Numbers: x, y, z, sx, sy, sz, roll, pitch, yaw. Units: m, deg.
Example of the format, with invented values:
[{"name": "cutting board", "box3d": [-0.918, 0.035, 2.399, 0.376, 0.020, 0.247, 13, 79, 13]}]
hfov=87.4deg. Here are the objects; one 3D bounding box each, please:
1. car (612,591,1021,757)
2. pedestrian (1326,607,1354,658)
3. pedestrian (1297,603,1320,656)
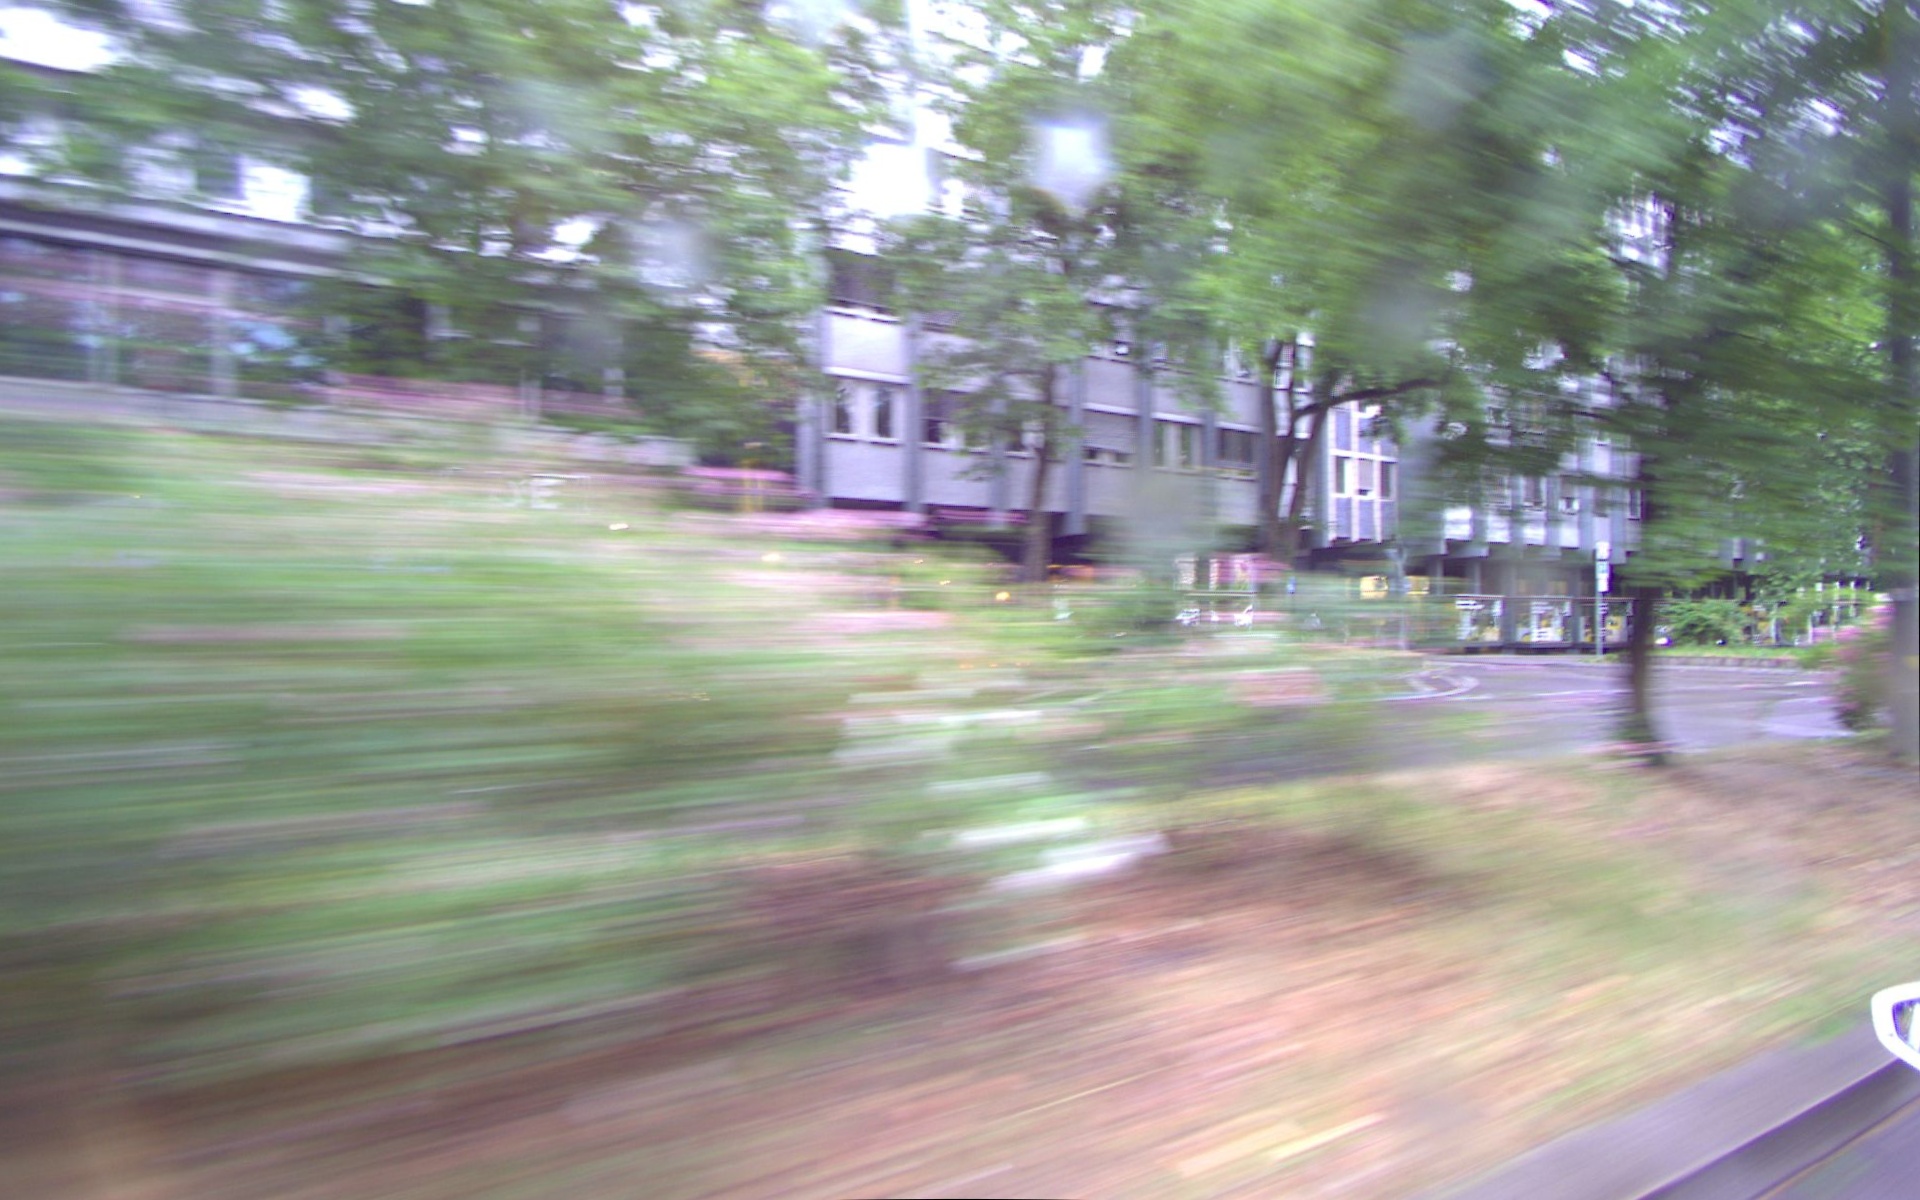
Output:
[{"name": "car", "box3d": [-1.464, 0.701, 10.678, 3.987, 1.484, 1.630, 1, 0, -30]}, {"name": "pedestrian", "box3d": [13.005, 1.121, 34.392, 0.678, 1.731, 0.561, 2, 0, -30]}, {"name": "pedestrian", "box3d": [12.199, 1.038, 35.176, 0.516, 1.831, 0.545, 2, 0, -30]}]
